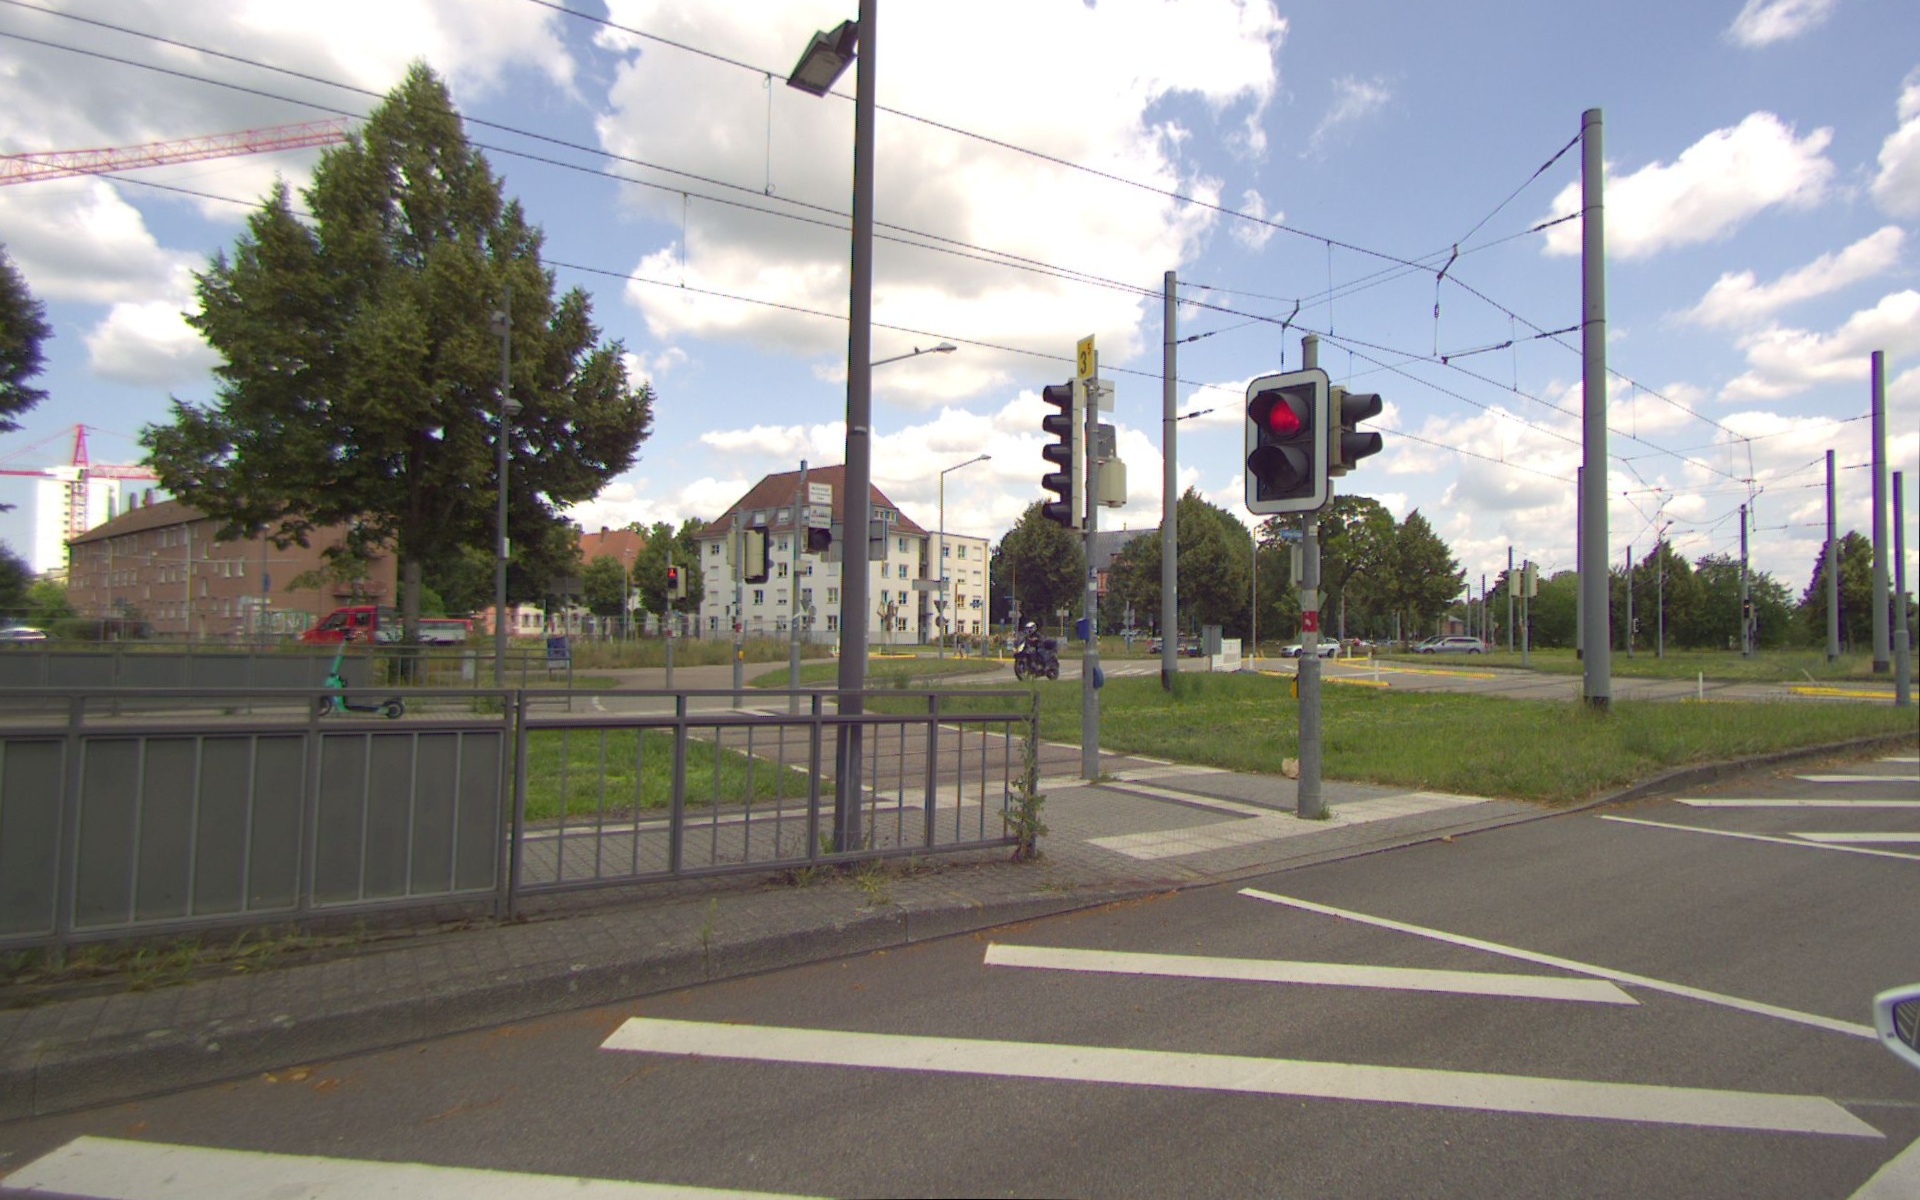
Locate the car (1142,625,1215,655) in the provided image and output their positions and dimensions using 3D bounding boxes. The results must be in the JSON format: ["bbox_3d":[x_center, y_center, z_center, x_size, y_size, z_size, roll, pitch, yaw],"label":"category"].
[{"bbox_3d":[15.274,2.782,70.314,4.639,2.040,1.997,0,-1,-9],"label":"car"}]

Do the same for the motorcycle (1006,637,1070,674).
[{"bbox_3d":[2.213,1.538,28.223,0.564,1.006,2.182,-1,-2,43],"label":"motorcycle"}]

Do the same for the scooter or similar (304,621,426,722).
[{"bbox_3d":[-8.242,0.990,13.946,1.323,1.319,0.418,3,-2,-13],"label":"scooter or similar"}]

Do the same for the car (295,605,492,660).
[{"bbox_3d":[-23.566,1.368,42.103,6.714,2.226,2.391,1,-2,-10],"label":"car"}]

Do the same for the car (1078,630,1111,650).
[{"bbox_3d":[13.992,4.153,104.017,1.965,2.040,3.991,-1,-2,31],"label":"car"}]

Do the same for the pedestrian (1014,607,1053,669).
[{"bbox_3d":[2.063,1.067,28.149,0.815,1.695,0.769,-1,-2,44],"label":"pedestrian"}]

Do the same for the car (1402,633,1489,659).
[{"bbox_3d":[32.666,3.062,67.703,4.846,1.648,2.066,0,0,0],"label":"car"}]

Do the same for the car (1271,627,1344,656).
[{"bbox_3d":[24.936,2.970,72.068,4.645,2.040,1.995,1,-1,-14],"label":"car"}]

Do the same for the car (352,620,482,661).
[{"bbox_3d":[-26.171,1.953,48.610,5.096,1.876,2.082,1,-2,-14],"label":"car"}]
